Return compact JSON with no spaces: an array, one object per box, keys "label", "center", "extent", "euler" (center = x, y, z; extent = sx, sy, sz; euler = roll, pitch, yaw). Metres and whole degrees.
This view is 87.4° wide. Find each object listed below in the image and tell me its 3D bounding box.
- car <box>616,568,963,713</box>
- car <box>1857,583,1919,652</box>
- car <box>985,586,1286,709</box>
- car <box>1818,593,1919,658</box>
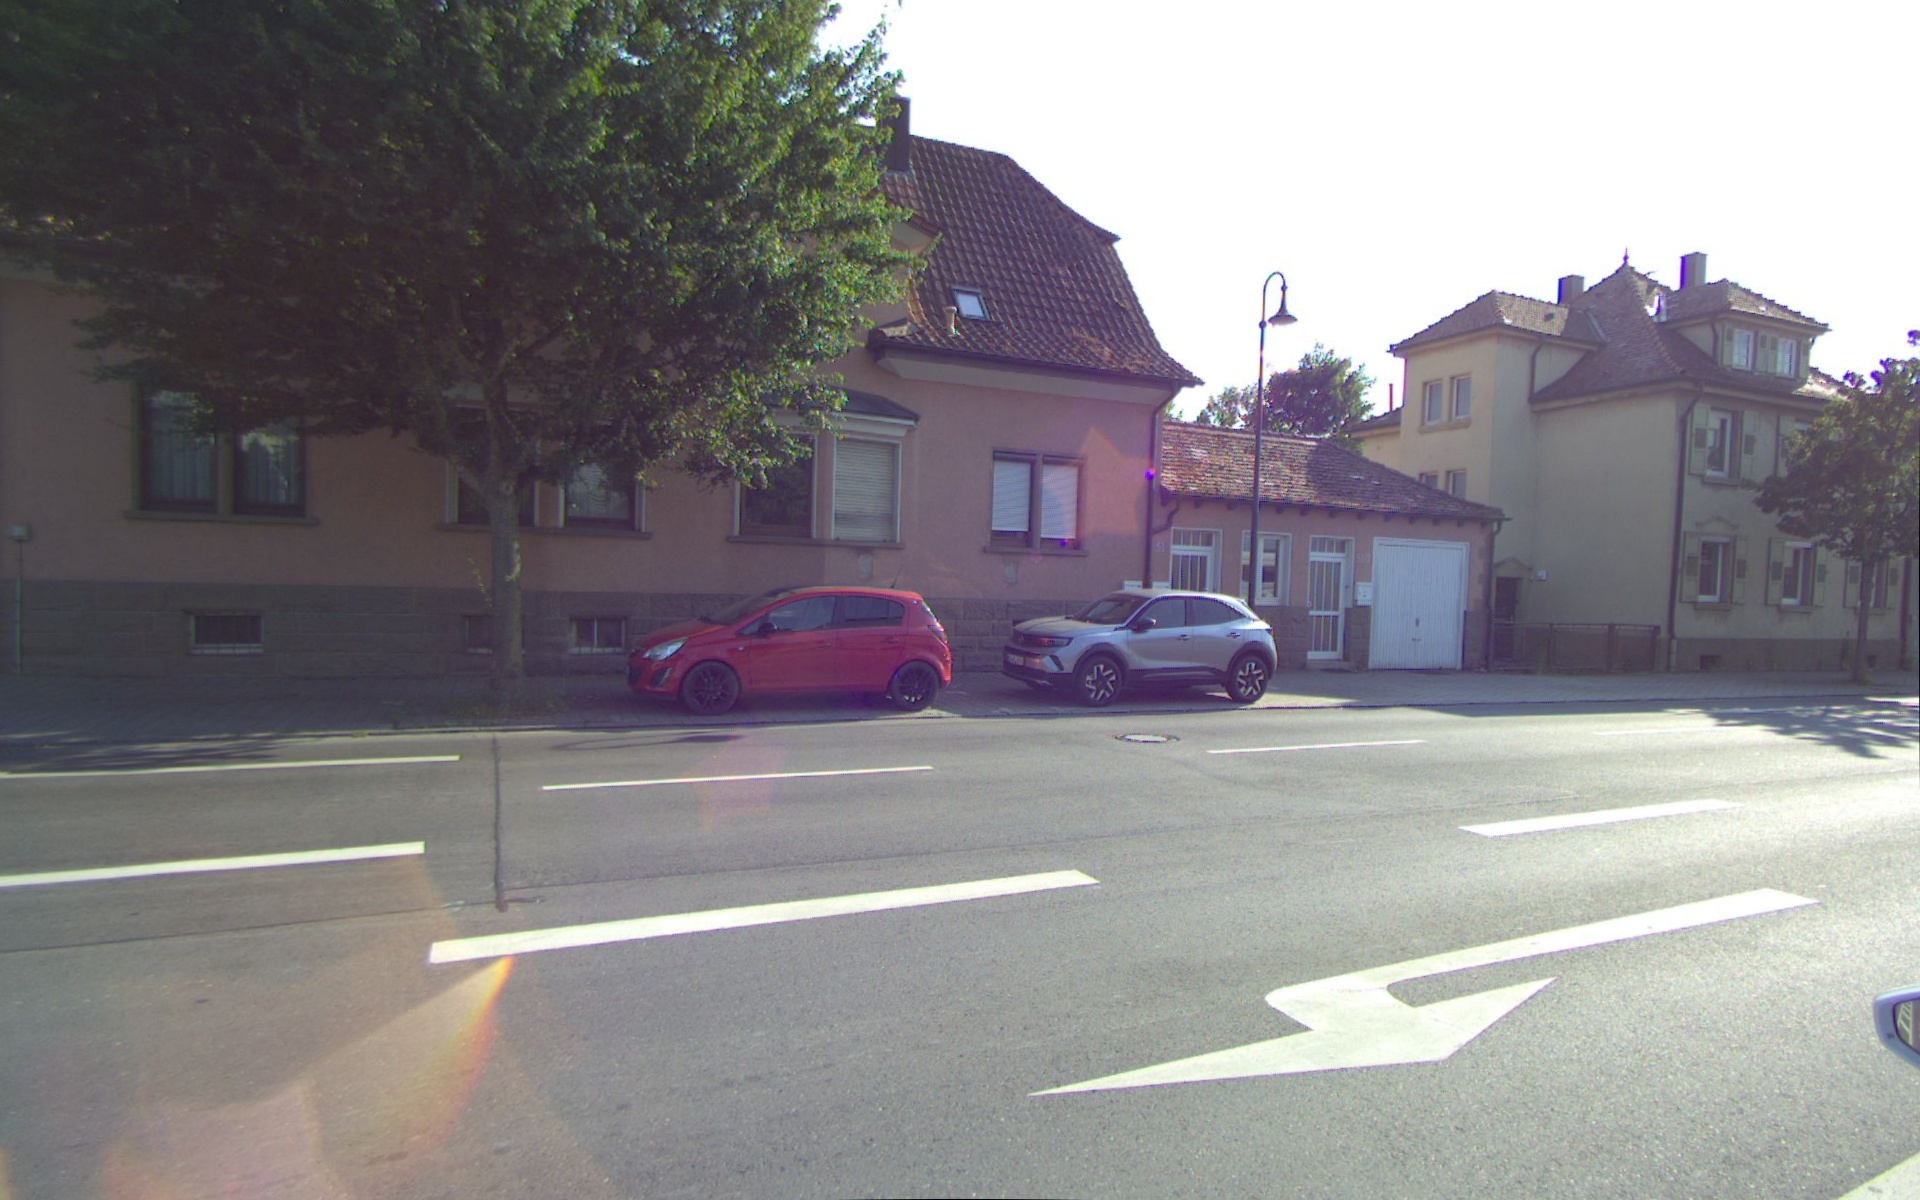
[{"label":"car","center":[-2.115,0.462,12.423],"extent":[3.943,1.507,1.661],"euler":[1,4,-23]},{"label":"car","center":[36.934,0.716,36.617],"extent":[2.163,2.514,5.902],"euler":[0,2,-24]},{"label":"car","center":[2.527,0.622,14.520],"extent":[3.944,1.499,1.751],"euler":[1,4,-24]},{"label":"car","center":[32.111,0.886,33.481],"extent":[1.910,2.026,4.958],"euler":[1,2,-26]}]
